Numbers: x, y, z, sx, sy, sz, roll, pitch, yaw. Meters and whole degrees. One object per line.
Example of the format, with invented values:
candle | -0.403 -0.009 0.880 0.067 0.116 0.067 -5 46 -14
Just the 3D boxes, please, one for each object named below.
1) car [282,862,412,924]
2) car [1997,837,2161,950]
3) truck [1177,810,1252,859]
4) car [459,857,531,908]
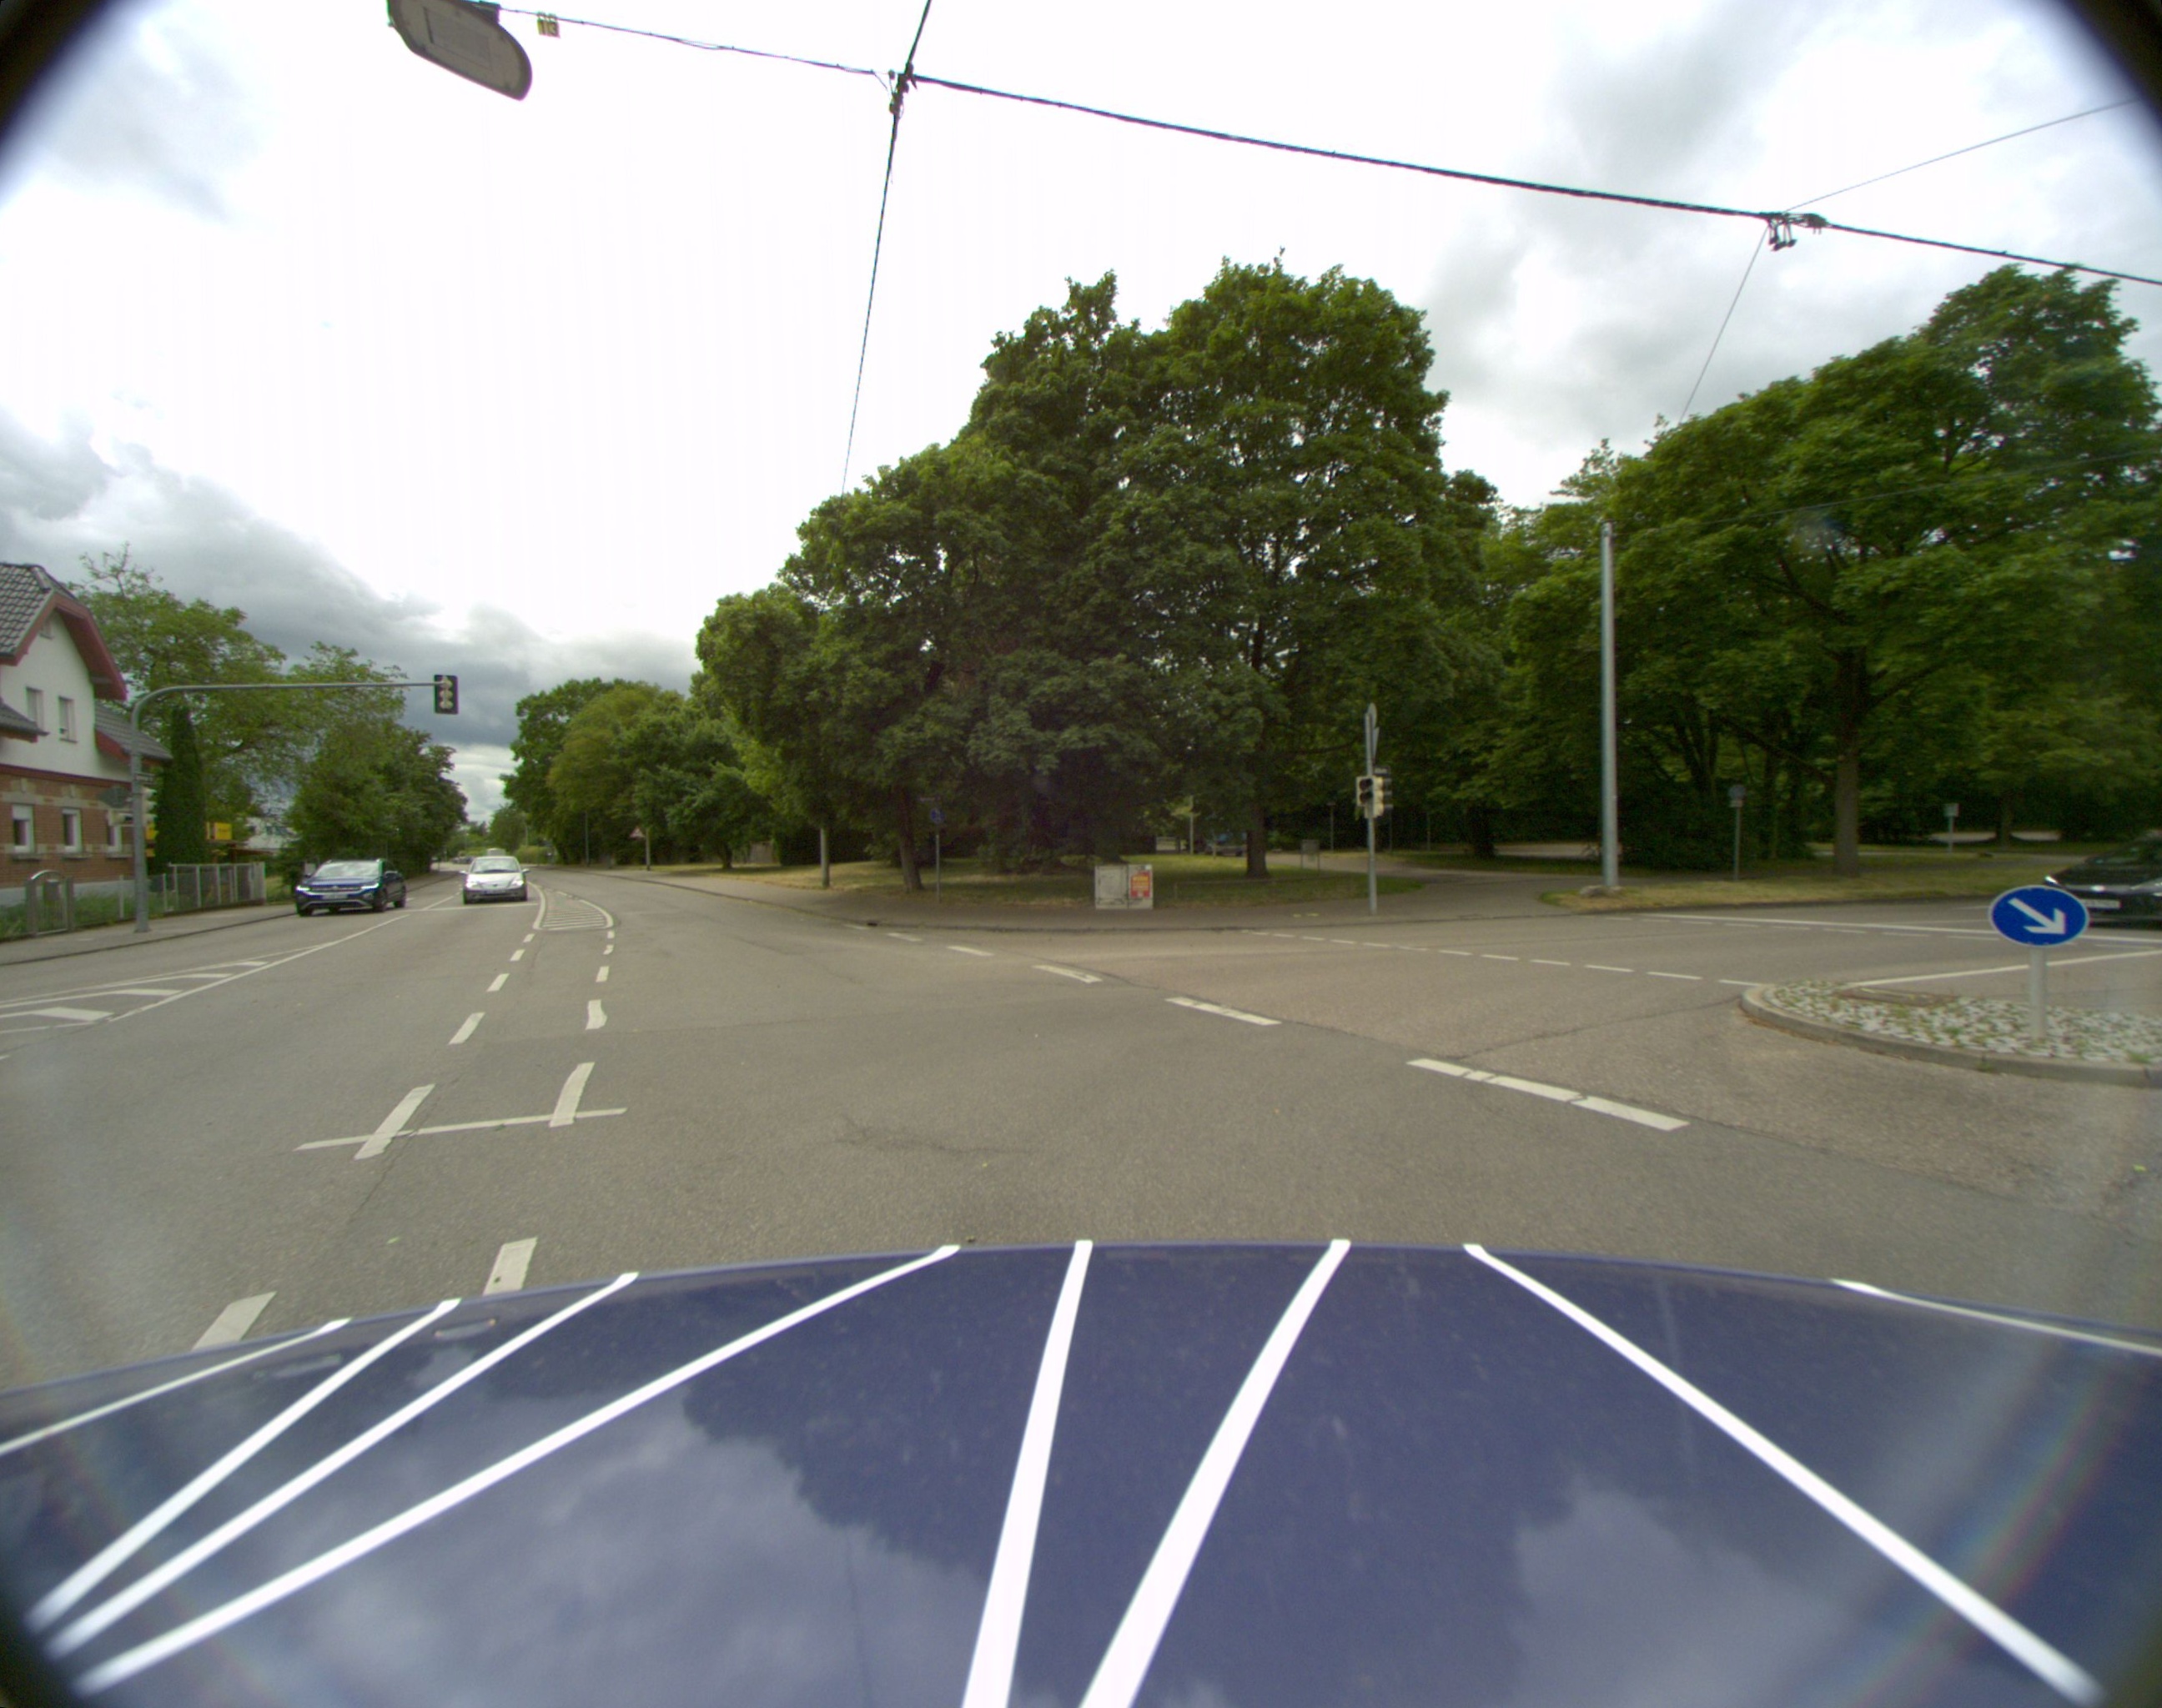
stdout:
car | -21.564 1.062 22.513 1.931 1.510 3.989 -3 2 -32
car | 18.097 0.556 12.542 4.000 1.609 1.998 -2 1 -8
truck | 8.278 -1.194 48.209 2.482 2.831 7.426 -1 1 -8
car | -20.361 0.927 26.372 1.784 1.510 3.548 -4 3 -39
